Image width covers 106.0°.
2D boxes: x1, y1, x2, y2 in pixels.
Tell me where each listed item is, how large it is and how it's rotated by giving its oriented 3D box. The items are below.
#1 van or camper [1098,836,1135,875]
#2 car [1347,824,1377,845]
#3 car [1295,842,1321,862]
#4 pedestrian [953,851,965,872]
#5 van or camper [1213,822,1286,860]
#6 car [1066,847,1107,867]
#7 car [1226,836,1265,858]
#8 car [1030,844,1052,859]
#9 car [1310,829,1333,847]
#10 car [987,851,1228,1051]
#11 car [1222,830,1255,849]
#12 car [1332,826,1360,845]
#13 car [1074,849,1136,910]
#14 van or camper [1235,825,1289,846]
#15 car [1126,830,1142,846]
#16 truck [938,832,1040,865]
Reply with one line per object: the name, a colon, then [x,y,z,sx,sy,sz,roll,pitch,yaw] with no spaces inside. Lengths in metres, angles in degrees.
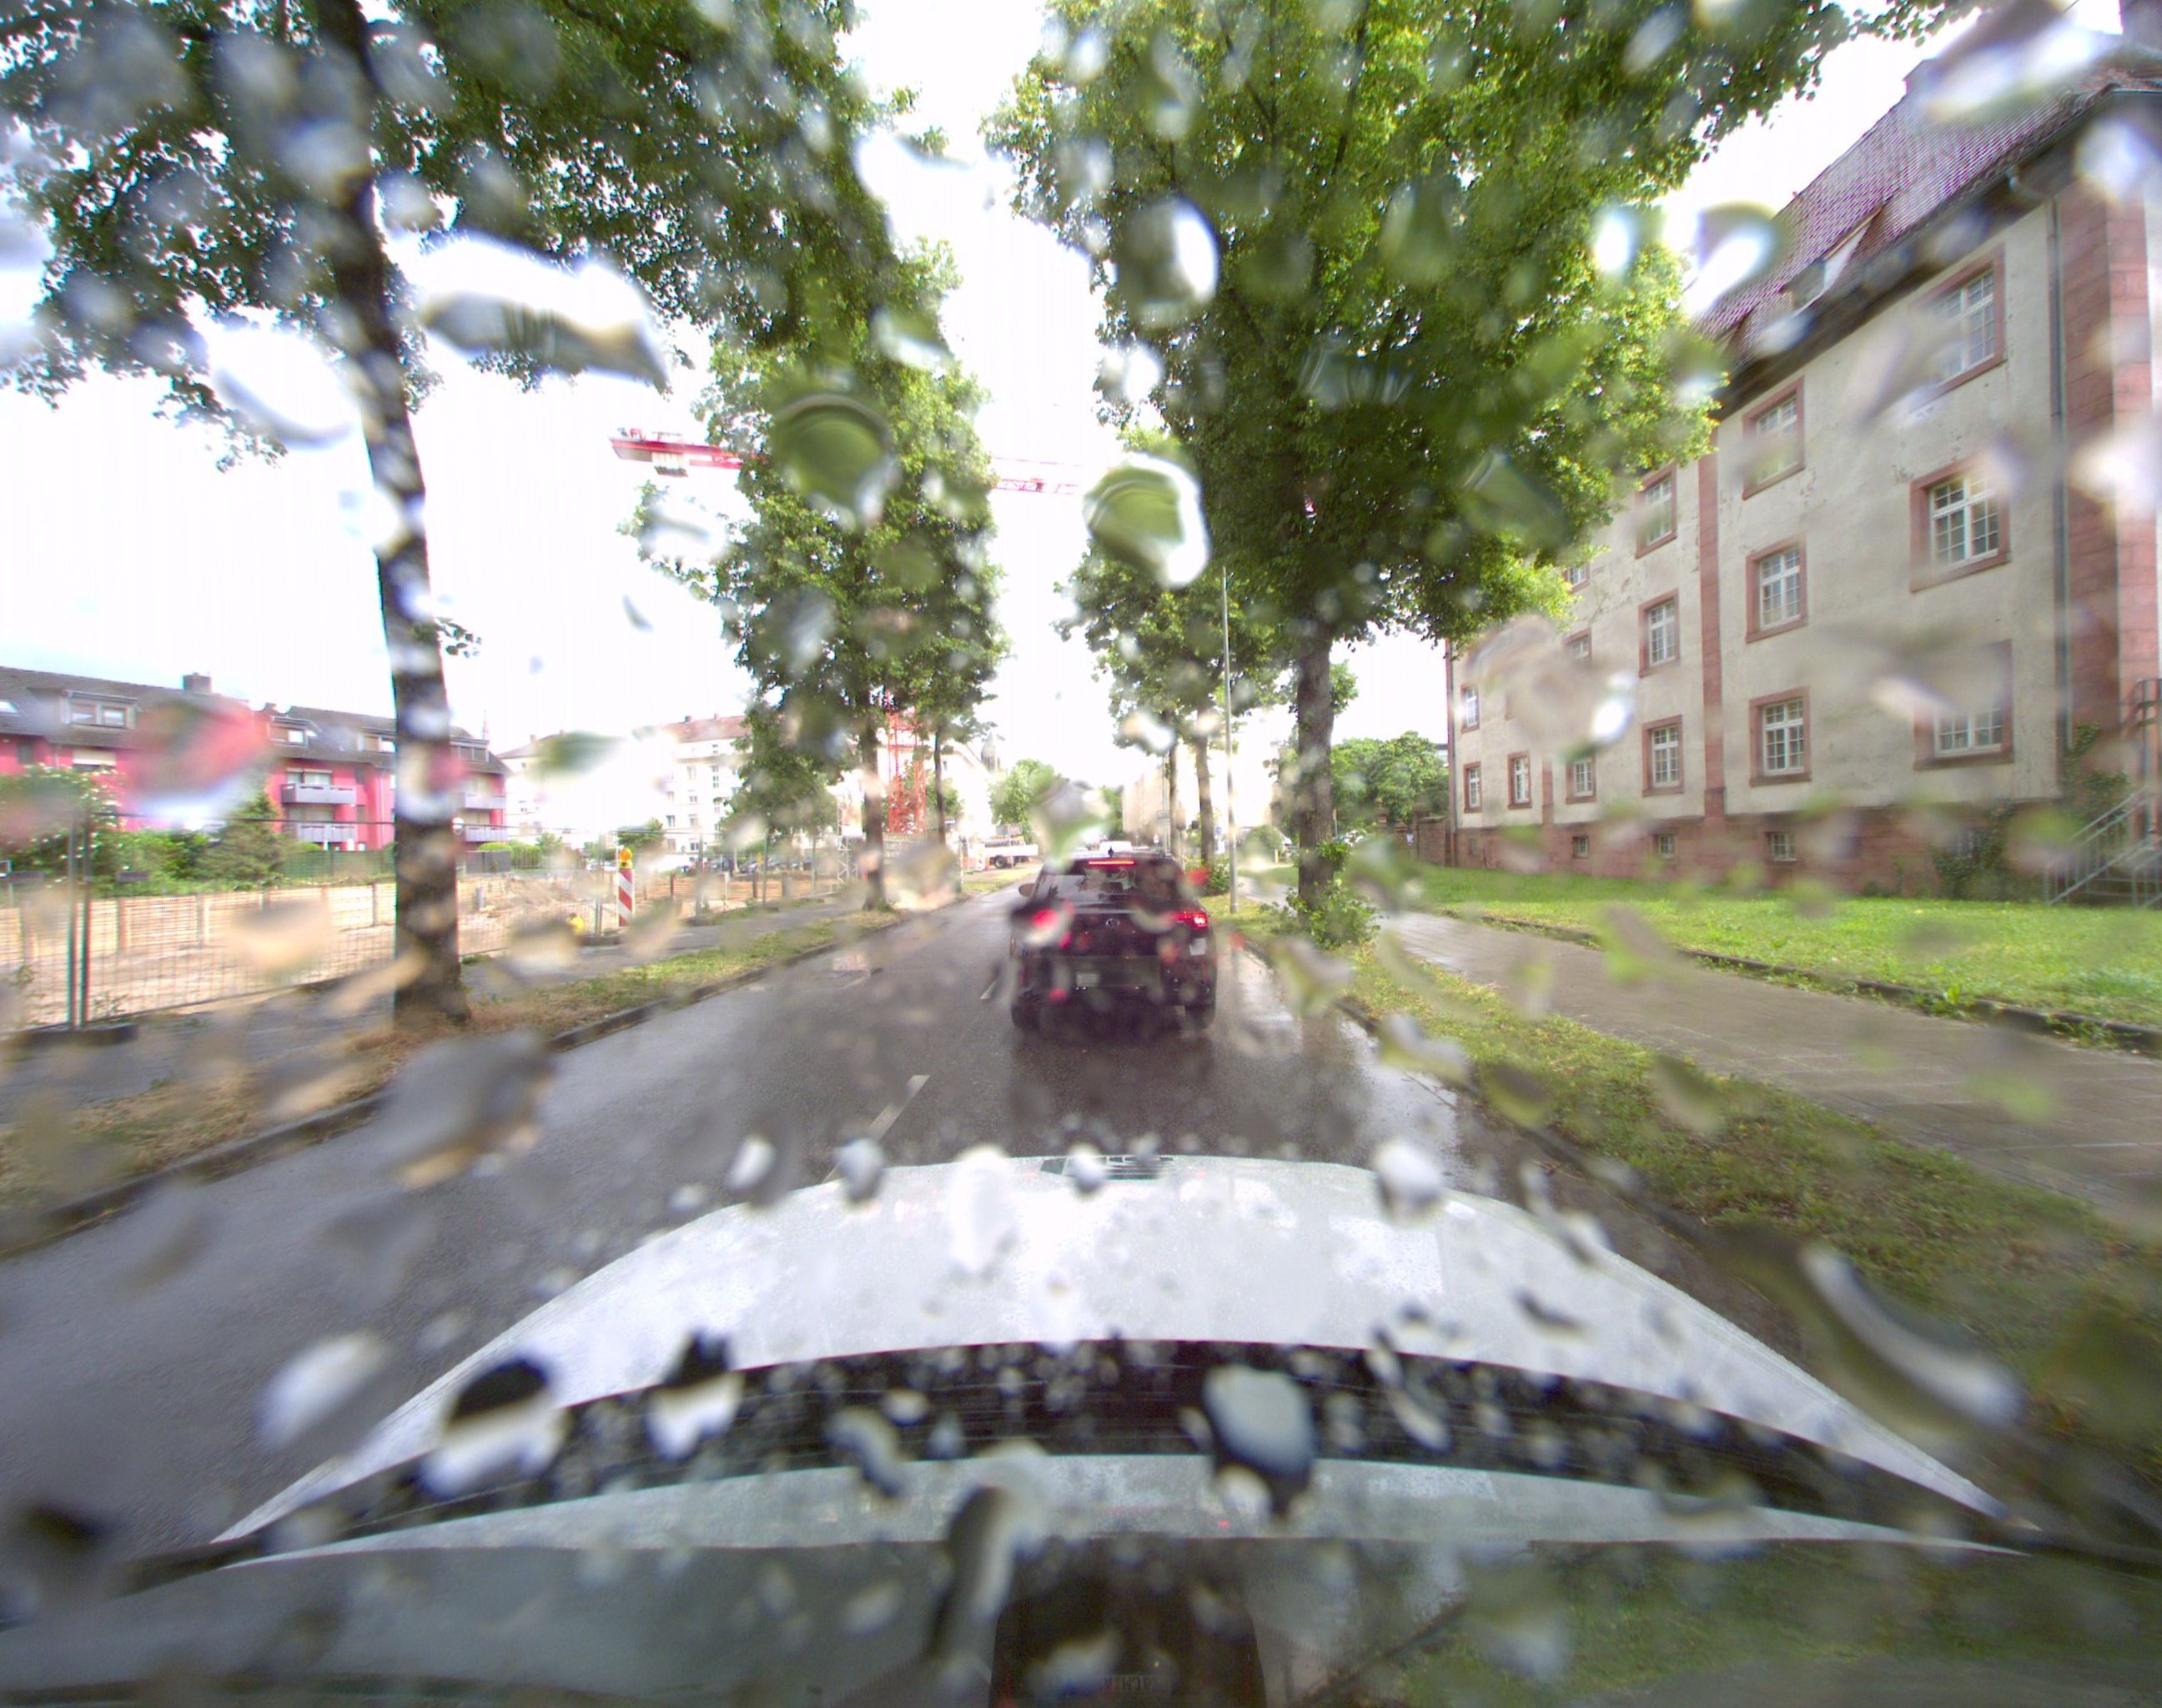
van or camper: [1.930,0.058,43.368,1.812,1.947,4.199,-1,1,3]
car: [29.467,-2.013,85.652,1.984,2.013,4.007,-5,0,6]
car: [21.153,-0.243,75.869,1.733,1.683,3.879,-5,0,8]
pedestrian: [-8.777,0.538,58.517,0.663,1.485,0.668,-2,1,-23]
van or camper: [12.849,-0.989,62.285,5.016,2.595,2.168,-2,0,0]
car: [0.558,0.304,81.734,1.737,1.651,3.960,-5,0,43]
car: [15.149,-0.670,74.988,3.388,1.781,1.764,-3,0,8]
car: [-4.351,-0.293,88.708,1.582,1.512,3.740,-5,0,8]
car: [28.549,-1.893,96.775,1.858,1.857,3.816,-5,0,6]
car: [0.278,0.765,8.477,1.887,1.522,4.002,-1,1,2]
car: [17.308,-1.613,89.719,3.386,1.781,1.765,-5,0,10]
car: [29.530,-2.039,90.849,1.984,2.013,4.007,-5,0,6]
car: [0.853,0.750,26.343,1.672,1.708,3.915,-4,0,5]
van or camper: [17.672,-1.775,79.684,4.856,1.925,2.133,-1,1,2]
car: [7.027,-2.132,108.288,1.986,2.013,4.002,-1,0,2]
truck: [-7.809,-0.452,69.392,8.145,2.656,2.829,-1,1,20]
